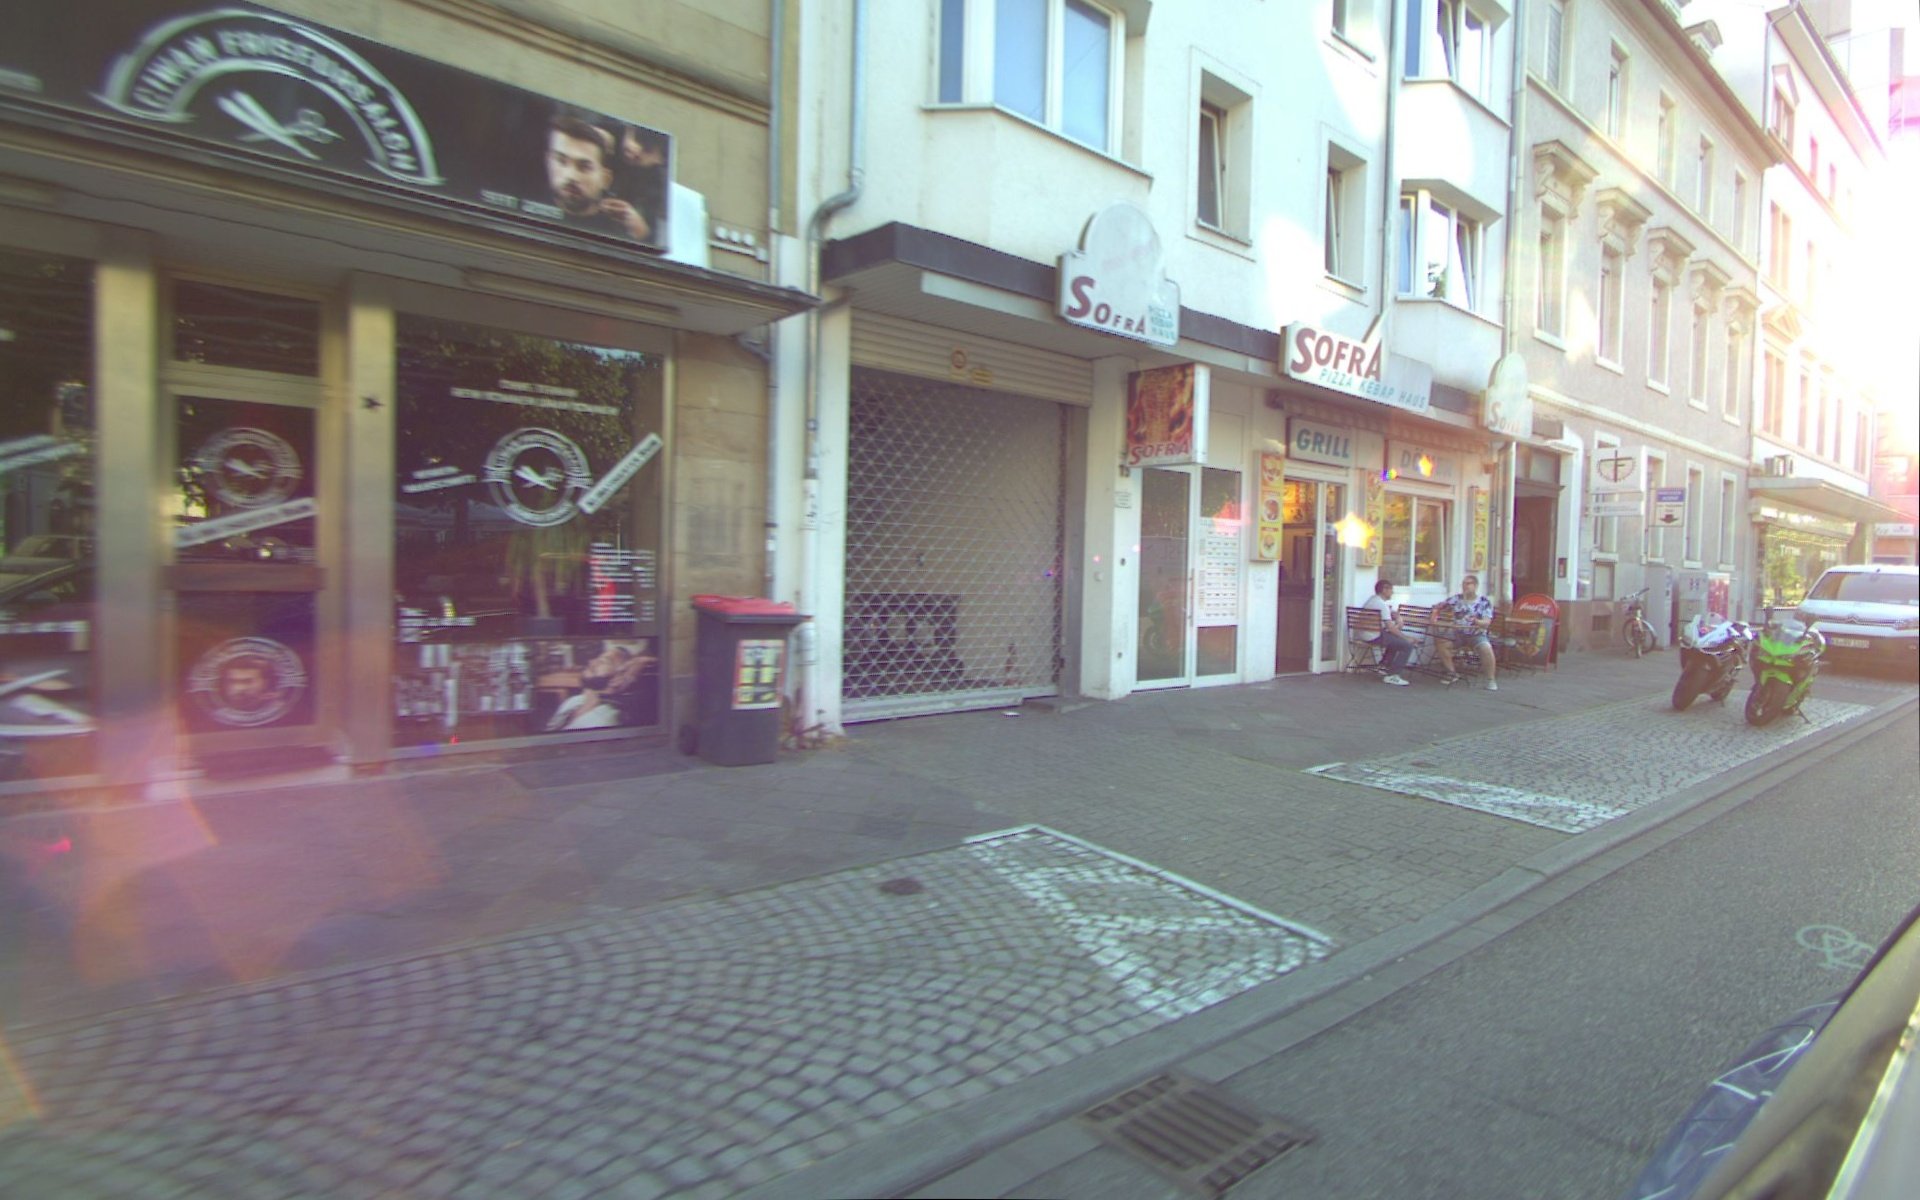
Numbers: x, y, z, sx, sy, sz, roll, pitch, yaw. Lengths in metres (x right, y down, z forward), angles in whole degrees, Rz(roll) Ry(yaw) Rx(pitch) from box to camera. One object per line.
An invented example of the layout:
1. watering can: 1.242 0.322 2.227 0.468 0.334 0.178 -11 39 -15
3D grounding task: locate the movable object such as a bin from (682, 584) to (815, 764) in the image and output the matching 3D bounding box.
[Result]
1. movable object such as a bin: -1.393 0.449 6.648 0.652 1.098 0.597 0 1 -39

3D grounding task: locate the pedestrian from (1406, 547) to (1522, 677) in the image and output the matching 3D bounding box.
1. pedestrian: 6.193 0.127 12.443 0.975 1.505 0.957 0 1 -40

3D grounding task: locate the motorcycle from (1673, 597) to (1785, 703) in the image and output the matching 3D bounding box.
1. motorcycle: 9.069 0.539 11.906 2.171 1.137 0.589 0 2 -41

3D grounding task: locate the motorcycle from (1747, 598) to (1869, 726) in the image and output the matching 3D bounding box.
1. motorcycle: 9.195 0.615 10.941 2.171 1.215 0.589 0 4 -41

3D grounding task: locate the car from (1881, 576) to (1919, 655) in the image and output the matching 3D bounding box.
1. car: 20.582 0.307 21.013 3.814 1.563 1.670 0 1 -40

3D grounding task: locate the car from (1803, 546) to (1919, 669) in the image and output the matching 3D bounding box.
1. car: 15.838 0.095 17.058 4.228 1.858 1.714 0 1 -39

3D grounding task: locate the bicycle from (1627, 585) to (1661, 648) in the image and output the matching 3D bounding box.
1. bicycle: 12.168 0.272 17.995 0.453 1.024 1.691 1 2 35

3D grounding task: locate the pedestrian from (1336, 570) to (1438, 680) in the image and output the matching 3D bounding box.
1. pedestrian: 5.161 0.285 12.268 0.774 1.234 0.745 3 3 -10
